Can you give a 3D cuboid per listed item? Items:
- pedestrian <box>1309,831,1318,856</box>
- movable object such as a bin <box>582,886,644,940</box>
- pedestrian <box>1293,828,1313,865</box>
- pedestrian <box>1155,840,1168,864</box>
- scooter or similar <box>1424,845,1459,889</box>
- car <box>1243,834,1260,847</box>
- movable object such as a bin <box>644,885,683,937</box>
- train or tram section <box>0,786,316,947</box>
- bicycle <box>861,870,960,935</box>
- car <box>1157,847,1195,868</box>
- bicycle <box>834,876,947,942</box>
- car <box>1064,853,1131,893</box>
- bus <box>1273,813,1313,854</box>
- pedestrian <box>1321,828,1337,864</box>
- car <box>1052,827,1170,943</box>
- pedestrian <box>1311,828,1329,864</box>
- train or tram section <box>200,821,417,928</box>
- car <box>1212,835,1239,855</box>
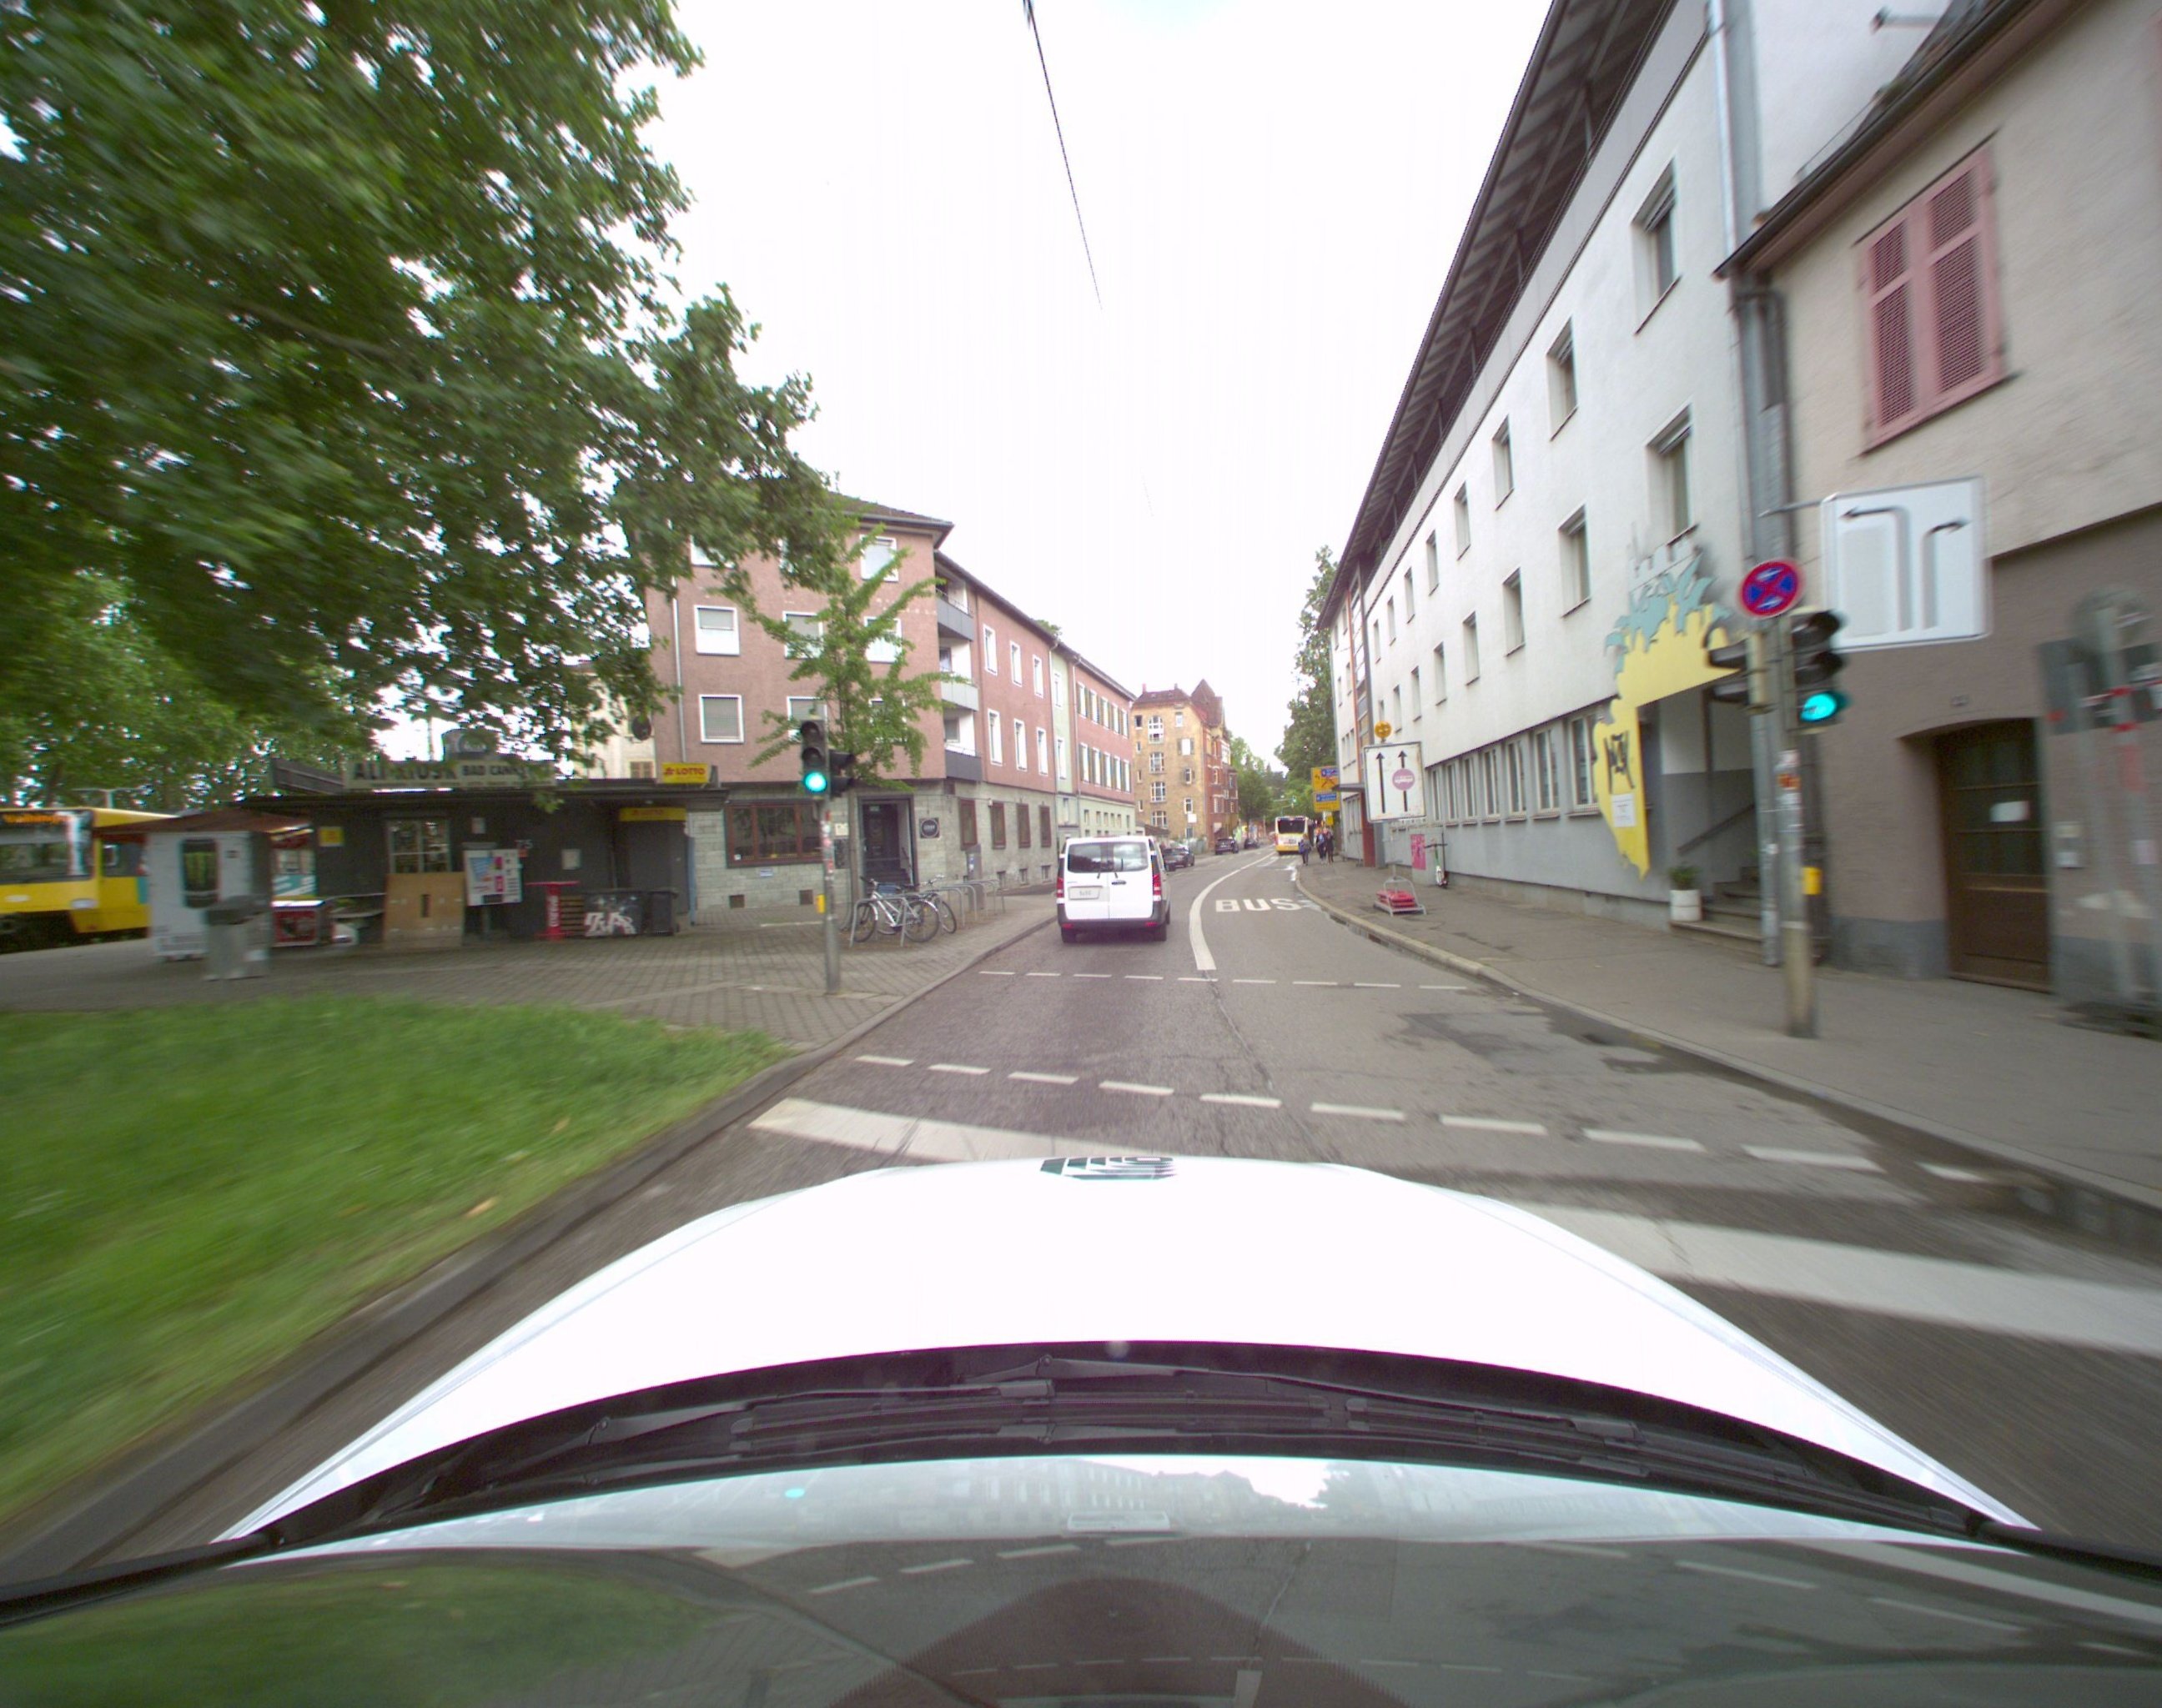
[{"bbox_3d":[16.902,-0.779,59.098,0.577,1.778,0.825,-1,1,17],"label":"pedestrian"},{"bbox_3d":[-9.097,1.129,15.891,0.970,0.964,1.103,1,0,-27],"label":"movable object such as a bin"},{"bbox_3d":[11.540,-0.394,42.330,0.798,1.793,0.945,-5,1,11],"label":"pedestrian"},{"bbox_3d":[5.904,-0.125,59.587,0.755,1.744,0.988,-1,0,15],"label":"pedestrian"},{"bbox_3d":[9.489,0.324,21.472,0.426,1.097,1.443,-5,0,10],"label":"scooter or similar"},{"bbox_3d":[22.318,-1.748,106.549,1.711,1.485,4.412,-2,3,18],"label":"car"},{"bbox_3d":[-8.350,1.123,16.311,0.674,0.964,1.070,1,0,-27],"label":"movable object such as a bin"},{"bbox_3d":[-26.710,0.502,23.718,2.929,3.673,10.915,1,-3,-24],"label":"train or tram section"},{"bbox_3d":[-3.244,0.912,15.646,1.800,1.176,0.723,-1,0,-8],"label":"bicycle"},{"bbox_3d":[6.451,0.244,54.972,1.979,1.290,4.015,-1,-1,14],"label":"car"},{"bbox_3d":[-3.348,0.955,14.339,1.856,1.114,0.580,-1,0,13],"label":"bicycle"},{"bbox_3d":[0.767,0.739,34.093,1.816,1.455,4.601,-3,0,13],"label":"car"},{"bbox_3d":[17.977,-1.744,68.666,2.641,3.135,10.087,-1,1,17],"label":"bus"},{"bbox_3d":[12.445,-0.404,40.899,0.537,1.756,0.612,-5,1,24],"label":"pedestrian"},{"bbox_3d":[0.742,0.538,15.792,1.907,1.901,4.710,0,-1,6],"label":"car"},{"bbox_3d":[12.273,-0.414,41.807,0.682,1.756,0.881,-5,1,11],"label":"pedestrian"},{"bbox_3d":[-31.177,0.935,33.666,2.929,3.673,10.915,1,-3,-24],"label":"train or tram section"},{"bbox_3d":[14.409,-0.903,81.117,1.938,1.733,4.796,-3,1,17],"label":"car"}]
